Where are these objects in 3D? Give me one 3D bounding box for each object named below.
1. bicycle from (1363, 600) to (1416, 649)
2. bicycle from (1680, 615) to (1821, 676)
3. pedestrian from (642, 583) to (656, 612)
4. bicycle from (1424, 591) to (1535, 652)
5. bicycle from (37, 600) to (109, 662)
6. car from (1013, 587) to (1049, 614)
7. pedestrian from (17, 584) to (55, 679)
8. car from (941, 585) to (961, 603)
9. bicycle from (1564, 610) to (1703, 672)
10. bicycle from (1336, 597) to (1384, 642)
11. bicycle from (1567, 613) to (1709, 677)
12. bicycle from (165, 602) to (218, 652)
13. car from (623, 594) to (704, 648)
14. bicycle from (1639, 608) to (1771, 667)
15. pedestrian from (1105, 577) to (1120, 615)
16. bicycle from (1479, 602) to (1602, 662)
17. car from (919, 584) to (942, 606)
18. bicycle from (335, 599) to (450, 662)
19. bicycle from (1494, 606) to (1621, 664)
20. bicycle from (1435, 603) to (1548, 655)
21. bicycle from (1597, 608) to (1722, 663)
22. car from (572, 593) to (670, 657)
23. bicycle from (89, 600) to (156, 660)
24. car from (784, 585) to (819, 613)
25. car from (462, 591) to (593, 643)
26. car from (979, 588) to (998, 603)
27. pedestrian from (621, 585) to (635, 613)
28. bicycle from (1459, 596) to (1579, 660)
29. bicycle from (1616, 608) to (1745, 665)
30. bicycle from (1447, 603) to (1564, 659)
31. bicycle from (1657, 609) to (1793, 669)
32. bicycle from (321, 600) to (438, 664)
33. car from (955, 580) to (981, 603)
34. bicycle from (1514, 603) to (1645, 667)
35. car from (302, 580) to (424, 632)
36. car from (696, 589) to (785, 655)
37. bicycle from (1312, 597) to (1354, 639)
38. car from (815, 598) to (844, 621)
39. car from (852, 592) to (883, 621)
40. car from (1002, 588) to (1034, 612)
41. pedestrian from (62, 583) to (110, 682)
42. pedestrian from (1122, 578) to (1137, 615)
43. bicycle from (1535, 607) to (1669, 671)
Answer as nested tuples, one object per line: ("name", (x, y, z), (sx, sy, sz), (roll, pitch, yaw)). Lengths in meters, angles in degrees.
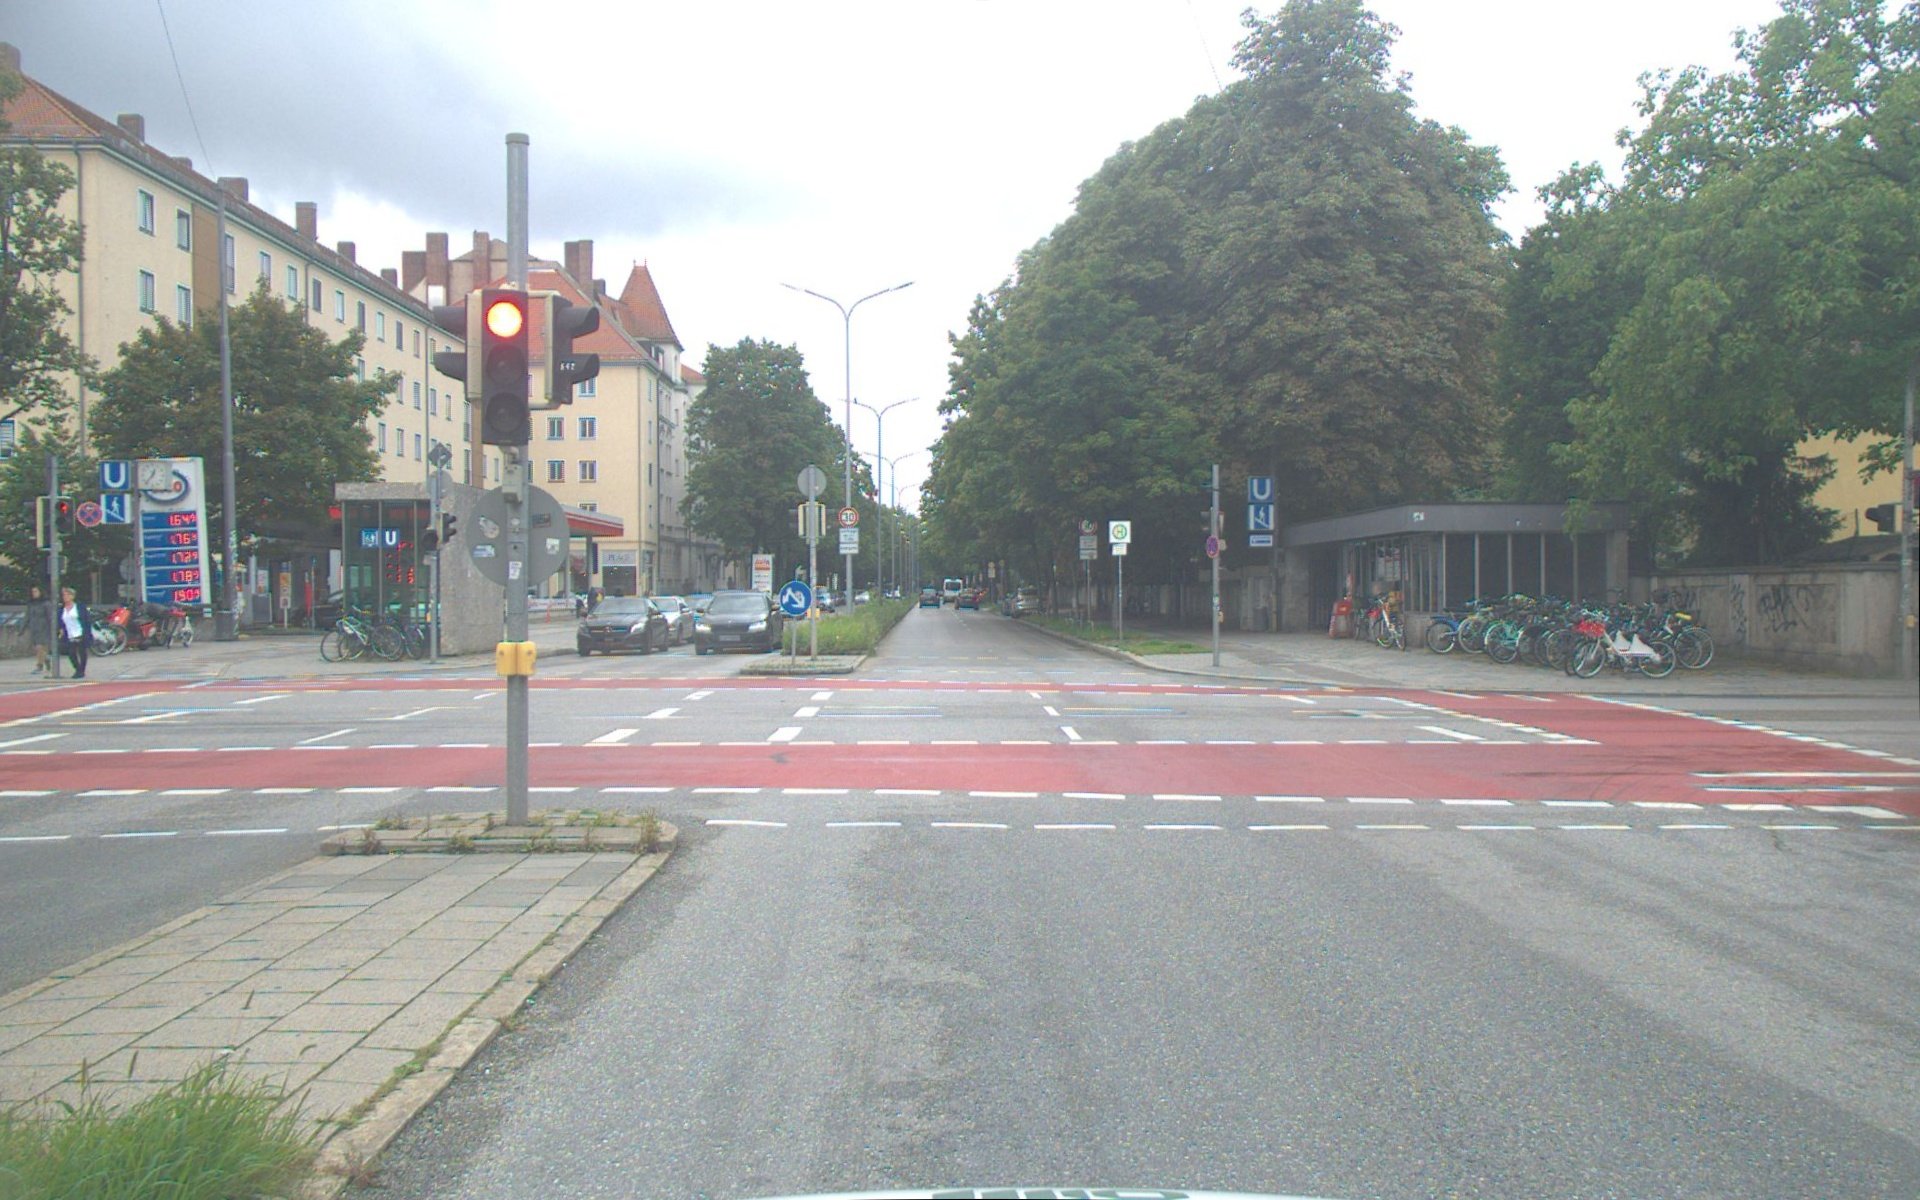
("bicycle", (9.472, 0.531, 36.524), (0.545, 1.032, 2.014), (0, 0, -3))
("bicycle", (13.572, 0.781, 28.445), (2.097, 1.032, 0.634), (0, 0, 7))
("pedestrian", (-17.945, -0.122, 95.422), (0.682, 1.666, 0.738), (0, 0, -1))
("bicycle", (10.675, 0.443, 34.032), (2.097, 1.240, 0.603), (0, 0, 7))
("bicycle", (-19.025, 0.650, 35.519), (0.596, 1.257, 2.184), (0, 0, -7))
("car", (3.831, 0.006, 90.047), (1.708, 1.387, 3.805), (0, 1, -1))
("pedestrian", (-17.123, 0.575, 30.648), (0.584, 1.725, 0.571), (0, 0, -32))
("car", (-0.937, -0.605, 168.761), (1.953, 1.787, 3.999), (0, 1, -2))
("bicycle", (11.429, 0.696, 28.102), (2.097, 1.032, 0.634), (0, 0, 7))
("bicycle", (9.476, 0.450, 39.257), (0.545, 1.032, 2.014), (0, 0, -3))
("bicycle", (11.245, 0.748, 27.474), (2.097, 1.032, 0.603), (0, 0, 7))
("bicycle", (-18.805, 0.647, 40.498), (0.596, 1.165, 1.963), (0, 0, -7))
("car", (-8.656, 0.580, 48.596), (1.724, 1.486, 3.999), (0, 1, -1))
("bicycle", (13.499, 0.680, 30.008), (2.097, 1.032, 0.634), (0, 0, 7))
("pedestrian", (6.969, -0.195, 75.553), (0.663, 1.712, 0.683), (0, 0, 5))
("bicycle", (10.859, 0.592, 30.995), (2.097, 1.105, 0.603), (0, 0, 7))
("car", (-2.396, -0.406, 134.739), (1.819, 1.713, 3.999), (0, 0, -1))
("bicycle", (-12.259, 0.661, 35.770), (2.238, 1.327, 0.694), (0, 0, 0))
("bicycle", (10.911, 0.632, 30.267), (2.097, 1.032, 0.603), (0, 0, 7))
("bicycle", (10.688, 0.581, 33.313), (2.097, 1.032, 0.603), (0, 0, 7))
("bicycle", (13.338, 0.673, 31.585), (2.097, 1.032, 0.634), (0, 0, 7))
("car", (-8.459, 0.585, 41.556), (1.724, 1.486, 3.999), (0, 1, -1))
("bicycle", (-18.394, 0.642, 36.360), (0.596, 1.257, 2.184), (0, 0, -7))
("car", (-9.701, -0.079, 101.761), (1.838, 1.697, 3.999), (0, 0, -1))
("car", (-14.456, 0.526, 55.379), (1.783, 1.637, 3.945), (0, 1, 41))
("car", (2.750, -0.431, 159.723), (1.708, 1.452, 3.898), (0, 1, -1))
("pedestrian", (-19.631, -0.060, 97.929), (0.682, 1.666, 0.738), (0, 0, -1))
("bicycle", (10.717, 0.540, 31.730), (2.097, 1.199, 0.603), (0, 0, 7))
("bicycle", (13.405, 0.676, 30.801), (2.097, 1.032, 0.634), (0, 0, 7))
("bicycle", (10.675, 0.599, 32.431), (2.097, 1.080, 0.603), (0, 0, 7))
("bicycle", (13.507, 0.678, 29.241), (2.097, 1.032, 0.634), (0, 0, 7))
("bicycle", (-12.270, 0.672, 34.990), (2.225, 1.327, 0.704), (0, 0, 0))
("car", (0.598, -0.650, 129.136), (1.883, 1.713, 3.999), (1, 0, -1))
("bicycle", (11.051, 0.629, 29.555), (2.097, 1.120, 0.603), (0, 0, 7))
("car", (-22.291, 0.209, 61.841), (3.908, 1.870, 1.879), (0, 0, -4))
("car", (-5.328, 0.502, 40.543), (1.724, 1.519, 3.999), (0, 1, -1))
("bicycle", (9.605, 0.460, 42.629), (0.545, 1.032, 2.014), (0, 0, -3))
("car", (-9.015, 0.617, 114.259), (1.724, 1.519, 3.999), (0, 1, -1))
("car", (-4.786, 0.310, 85.692), (1.438, 1.423, 3.699), (0, 1, -1))
("car", (3.507, -0.010, 99.969), (1.708, 1.387, 3.805), (0, 1, -1))
("pedestrian", (-15.526, 0.571, 29.398), (0.523, 1.725, 0.577), (0, 0, 2))
("pedestrian", (7.788, -0.157, 75.911), (0.663, 1.712, 0.683), (0, 0, 5))
("bicycle", (11.198, 0.679, 28.903), (2.097, 1.089, 0.603), (0, 0, 7))
